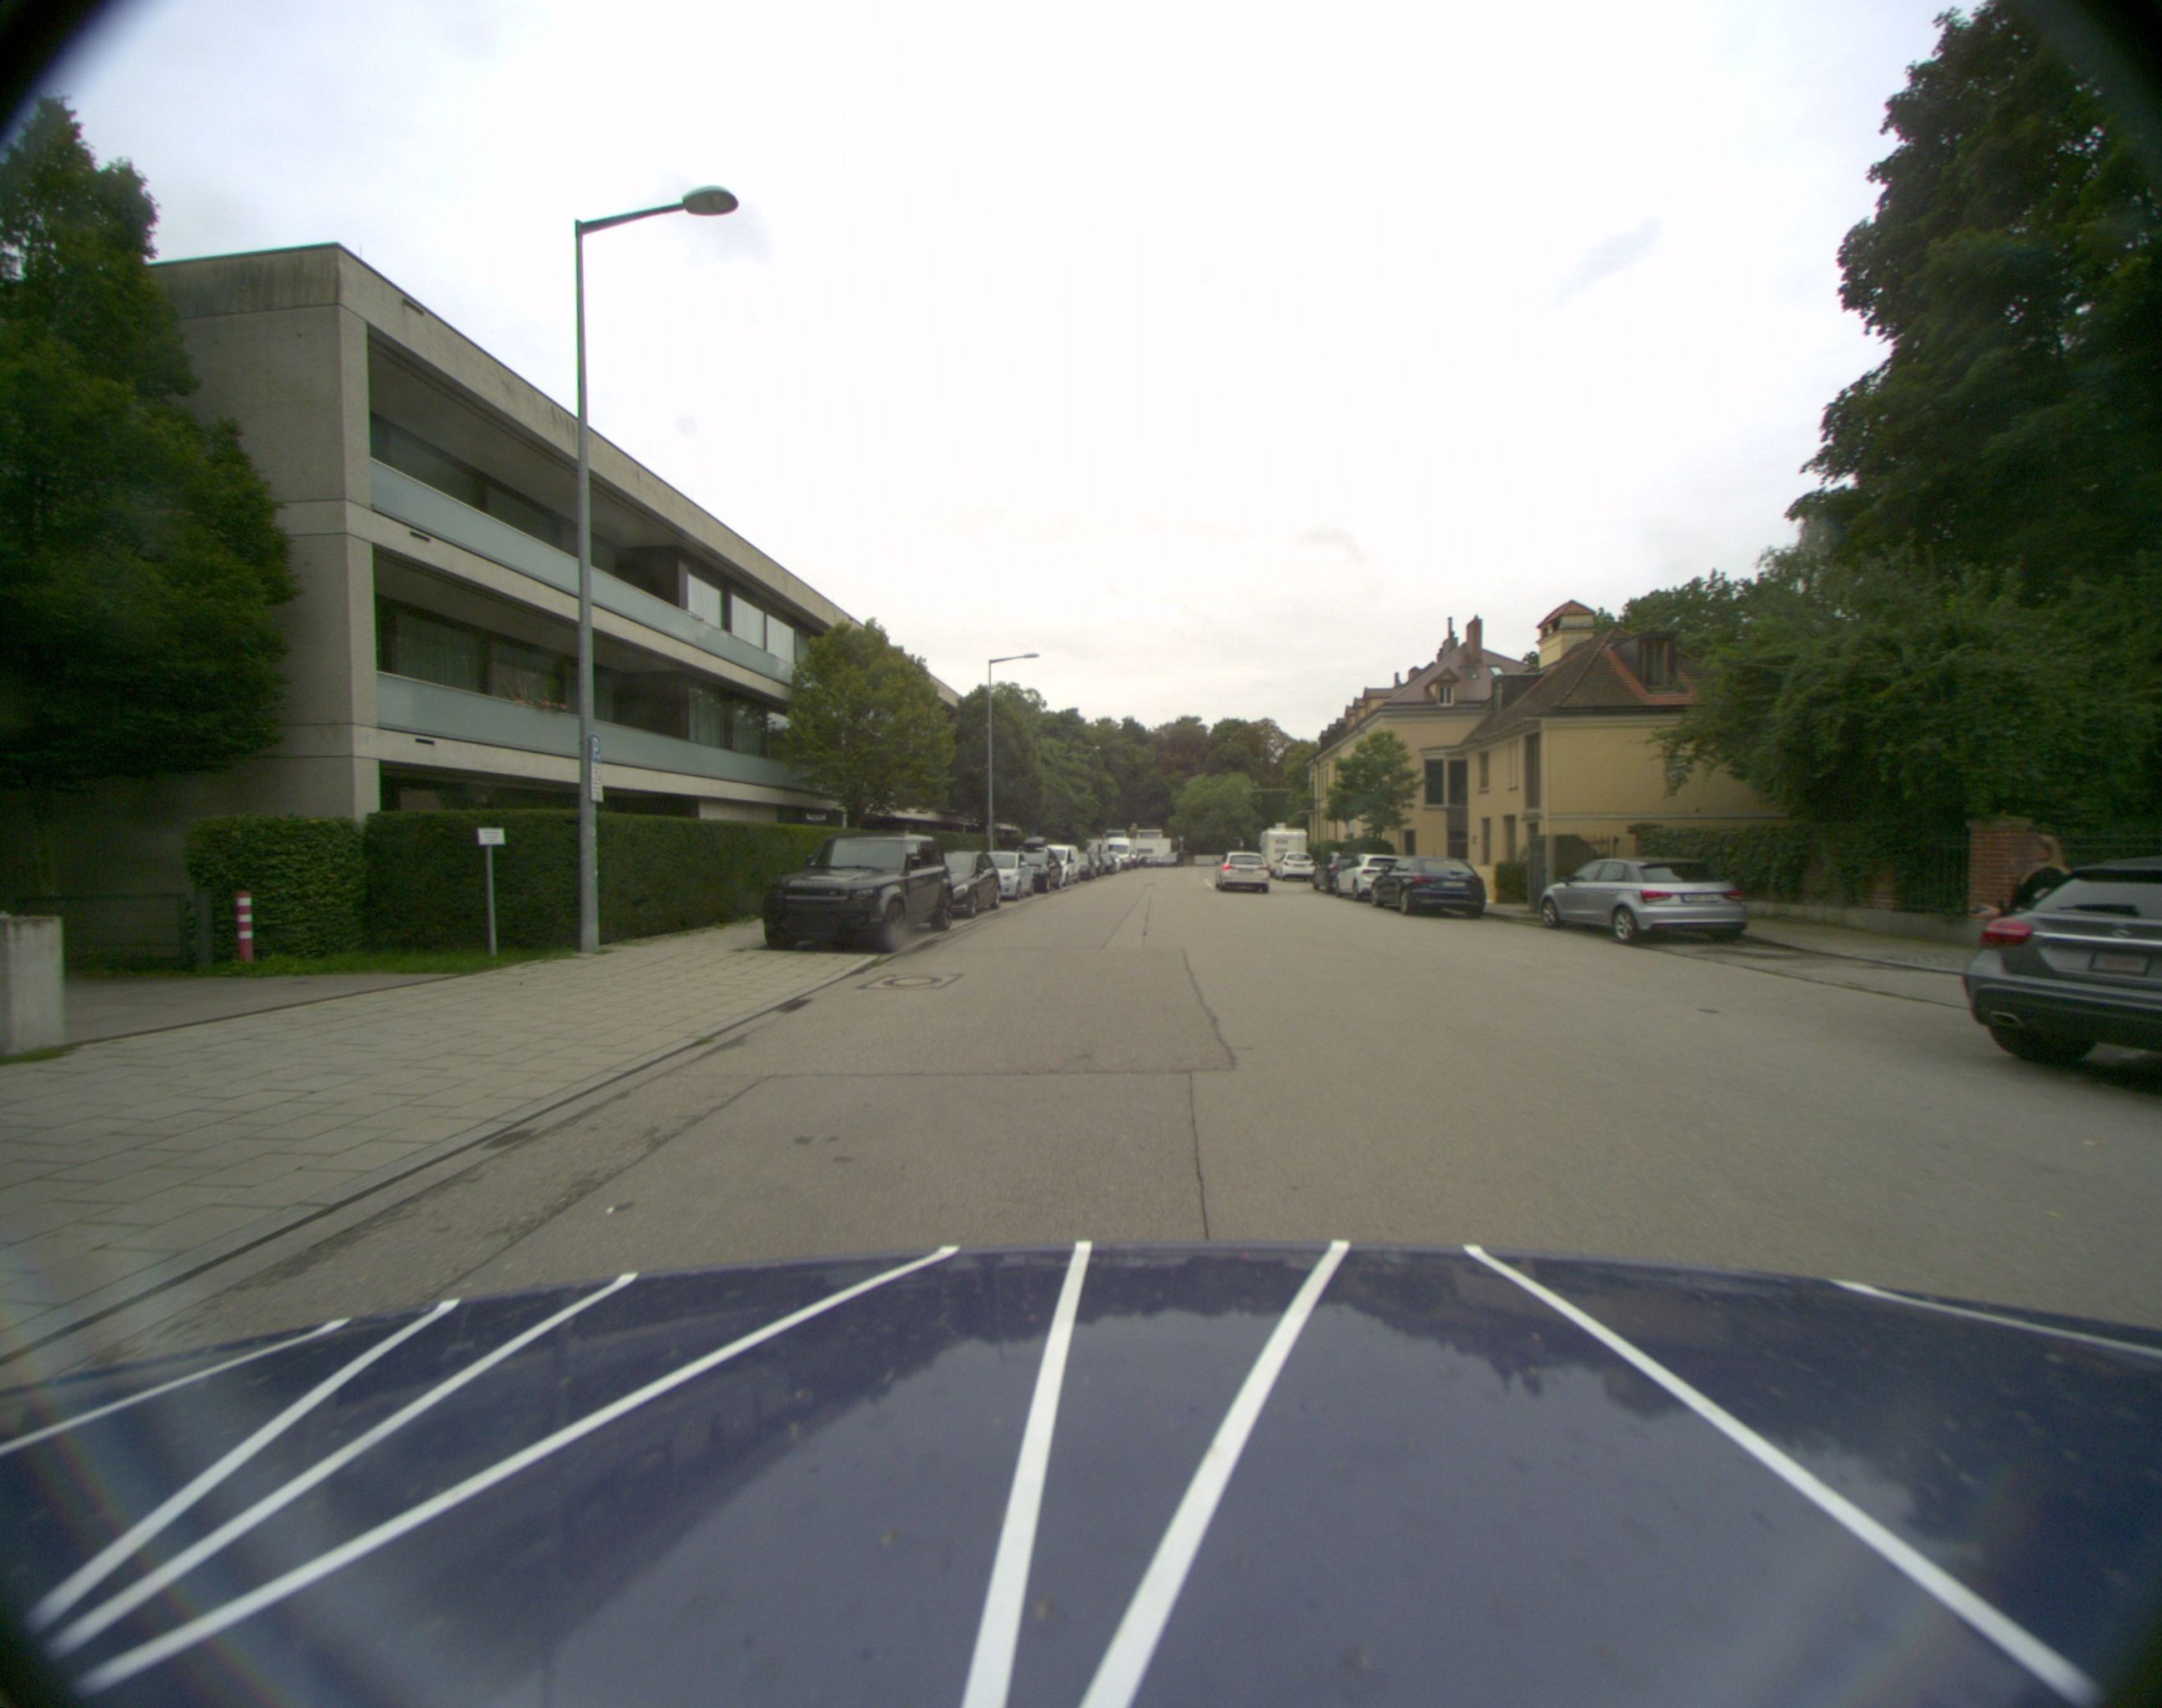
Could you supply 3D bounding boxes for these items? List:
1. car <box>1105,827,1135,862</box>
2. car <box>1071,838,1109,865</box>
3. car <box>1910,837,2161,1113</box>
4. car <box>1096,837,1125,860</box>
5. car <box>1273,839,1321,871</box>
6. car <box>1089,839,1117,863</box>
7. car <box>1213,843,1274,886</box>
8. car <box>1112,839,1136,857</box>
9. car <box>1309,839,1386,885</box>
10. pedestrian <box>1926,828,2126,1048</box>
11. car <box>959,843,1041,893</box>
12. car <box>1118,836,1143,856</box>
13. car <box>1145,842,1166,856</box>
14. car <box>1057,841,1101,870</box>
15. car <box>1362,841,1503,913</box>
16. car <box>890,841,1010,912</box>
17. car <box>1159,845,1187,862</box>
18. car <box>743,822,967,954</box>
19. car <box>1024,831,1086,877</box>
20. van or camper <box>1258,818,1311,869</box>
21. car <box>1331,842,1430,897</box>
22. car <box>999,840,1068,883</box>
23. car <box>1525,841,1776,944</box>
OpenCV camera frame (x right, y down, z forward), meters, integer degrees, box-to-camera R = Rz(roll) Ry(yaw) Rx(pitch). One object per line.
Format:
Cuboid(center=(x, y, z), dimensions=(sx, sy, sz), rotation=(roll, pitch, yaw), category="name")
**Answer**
Cuboid(center=(3.312, -0.774, 63.322), dimensions=(2.083, 2.671, 6.090), rotation=(2, 1, 6), category="car")
Cuboid(center=(0.592, -0.170, 45.161), dimensions=(1.730, 1.520, 4.206), rotation=(1, 1, 7), category="car")
Cuboid(center=(8.199, 0.671, 4.681), dimensions=(4.344, 1.521, 1.932), rotation=(0, 3, -6), category="car")
Cuboid(center=(2.238, -0.391, 56.705), dimensions=(1.874, 1.560, 5.003), rotation=(2, 1, 5), category="car")
Cuboid(center=(11.314, 0.013, 40.073), dimensions=(1.781, 1.526, 4.230), rotation=(2, 1, 8), category="car")
Cuboid(center=(1.504, -0.217, 50.539), dimensions=(1.283, 1.497, 5.210), rotation=(2, 1, 7), category="car")
Cuboid(center=(5.979, 0.329, 28.371), dimensions=(1.776, 1.467, 4.134), rotation=(0, 1, 6), category="car")
Cuboid(center=(3.991, -0.536, 69.525), dimensions=(1.874, 1.498, 4.840), rotation=(2, 1, 6), category="car")
Cuboid(center=(10.008, 0.237, 28.888), dimensions=(1.848, 1.526, 4.442), rotation=(2, 2, 8), category="car")
Cuboid(center=(7.468, 0.623, 6.048), dimensions=(0.591, 1.638, 0.714), rotation=(1, 2, 1), category="pedestrian")
Cuboid(center=(-2.504, 0.398, 24.402), dimensions=(1.751, 1.472, 3.889), rotation=(0, 1, 7), category="car")
Cuboid(center=(4.895, -0.773, 74.684), dimensions=(1.938, 1.894, 5.075), rotation=(2, 1, 9), category="car")
Cuboid(center=(8.356, -0.565, 85.555), dimensions=(1.896, 1.438, 4.269), rotation=(-3, -1, 1), category="car")
Cuboid(center=(-0.069, 0.040, 39.863), dimensions=(1.751, 1.455, 4.244), rotation=(0, 1, 7), category="car")
Cuboid(center=(8.679, 0.478, 19.239), dimensions=(1.849, 1.526, 4.563), rotation=(2, 1, 6), category="car")
Cuboid(center=(-3.050, 0.456, 18.699), dimensions=(1.751, 1.531, 4.570), rotation=(0, 1, 5), category="car")
Cuboid(center=(9.627, -0.032, 79.222), dimensions=(1.996, 1.683, 4.341), rotation=(-1, -1, 19), category="car")
Cuboid(center=(-3.603, 0.415, 13.351), dimensions=(1.992, 1.861, 5.078), rotation=(-1, 2, 5), category="car")
Cuboid(center=(-1.088, -0.023, 34.064), dimensions=(1.826, 1.850, 4.900), rotation=(-1, 1, 9), category="car")
Cuboid(center=(12.709, -0.674, 47.967), dimensions=(2.459, 2.924, 7.215), rotation=(2, 1, 9), category="van or camper")
Cuboid(center=(9.341, 0.408, 24.115), dimensions=(1.848, 1.526, 4.523), rotation=(2, 1, 8), category="car")
Cuboid(center=(-1.702, 0.248, 28.950), dimensions=(1.751, 1.472, 4.600), rotation=(-1, 1, 8), category="car")
Cuboid(center=(10.057, 0.561, 13.892), dimensions=(1.744, 1.526, 4.150), rotation=(2, 1, 6), category="car")
